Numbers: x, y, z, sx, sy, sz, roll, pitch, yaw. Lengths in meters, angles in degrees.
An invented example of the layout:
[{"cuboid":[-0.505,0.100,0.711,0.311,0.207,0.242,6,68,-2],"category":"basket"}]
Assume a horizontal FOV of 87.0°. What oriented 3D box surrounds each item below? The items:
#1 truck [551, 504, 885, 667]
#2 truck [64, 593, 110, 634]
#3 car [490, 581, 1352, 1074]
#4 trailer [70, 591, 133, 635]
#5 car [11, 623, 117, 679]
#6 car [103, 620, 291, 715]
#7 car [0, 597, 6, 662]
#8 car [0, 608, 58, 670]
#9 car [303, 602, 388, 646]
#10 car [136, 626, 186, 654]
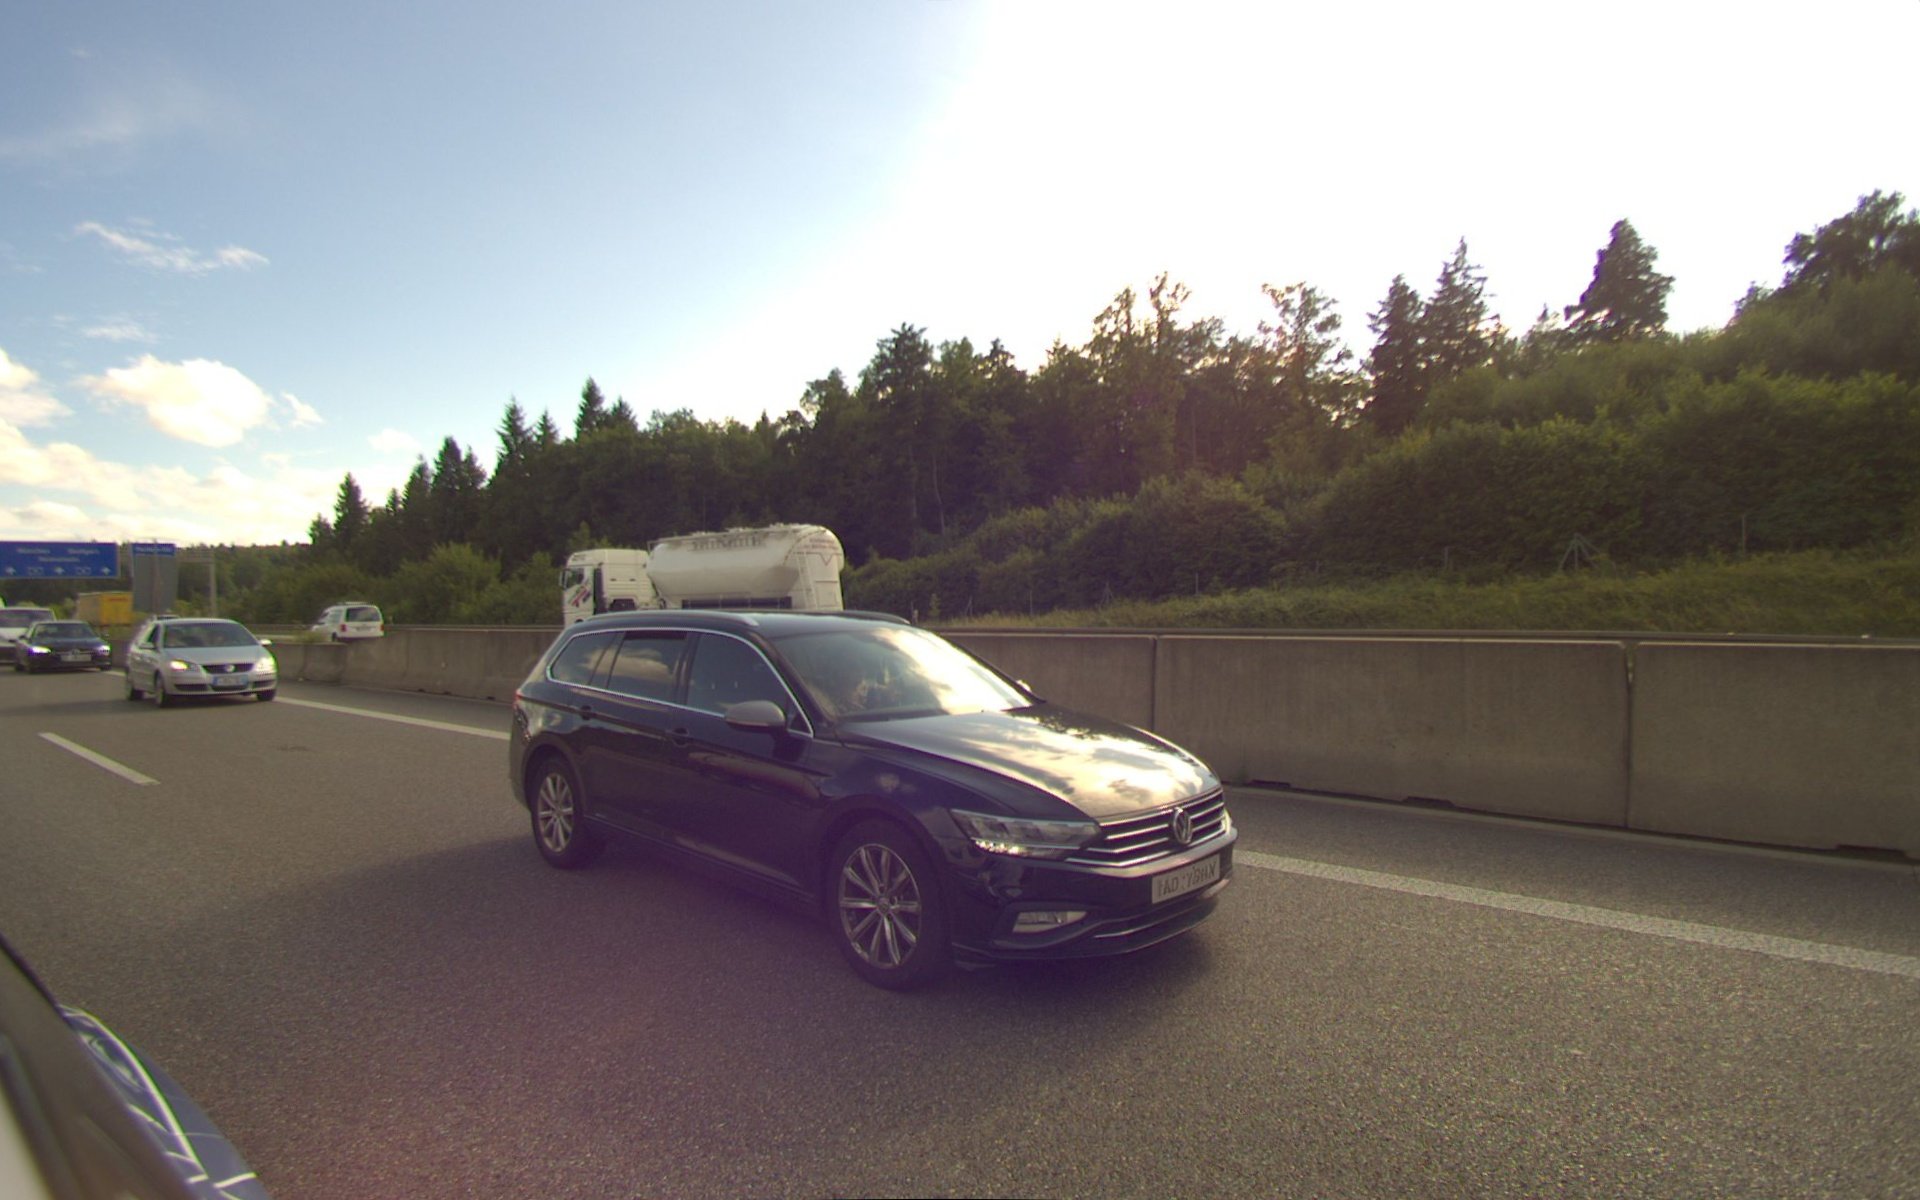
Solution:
[{"cuboid":[-8.426,-0.338,32.857,13.901,4.387,2.902,-1,0,41],"category":"truck"},{"cuboid":[-92.436,1.392,107.101,6.076,4.234,2.805,-1,0,41],"category":"truck"},{"cuboid":[-0.584,0.727,5.333,4.569,1.488,1.890,-1,-1,43],"category":"car"},{"cuboid":[-86.608,1.310,102.003,13.555,4.234,2.805,-1,0,41],"category":"trailer"},{"cuboid":[-25.484,1.400,28.751,3.992,1.442,1.786,-1,0,41],"category":"car"},{"cuboid":[-13.720,1.109,18.086,4.664,1.442,1.786,-1,0,41],"category":"car"},{"cuboid":[-41.258,1.236,41.881,5.859,2.591,2.027,-1,-2,41],"category":"car"},{"cuboid":[-32.884,1.329,35.032,4.846,1.980,1.922,-1,0,41],"category":"car"},{"cuboid":[-25.986,1.012,42.756,4.321,1.725,1.833,-1,0,41],"category":"car"},{"cuboid":[-53.563,2.656,67.850,4.321,1.823,1.833,-1,0,41],"category":"car"}]
